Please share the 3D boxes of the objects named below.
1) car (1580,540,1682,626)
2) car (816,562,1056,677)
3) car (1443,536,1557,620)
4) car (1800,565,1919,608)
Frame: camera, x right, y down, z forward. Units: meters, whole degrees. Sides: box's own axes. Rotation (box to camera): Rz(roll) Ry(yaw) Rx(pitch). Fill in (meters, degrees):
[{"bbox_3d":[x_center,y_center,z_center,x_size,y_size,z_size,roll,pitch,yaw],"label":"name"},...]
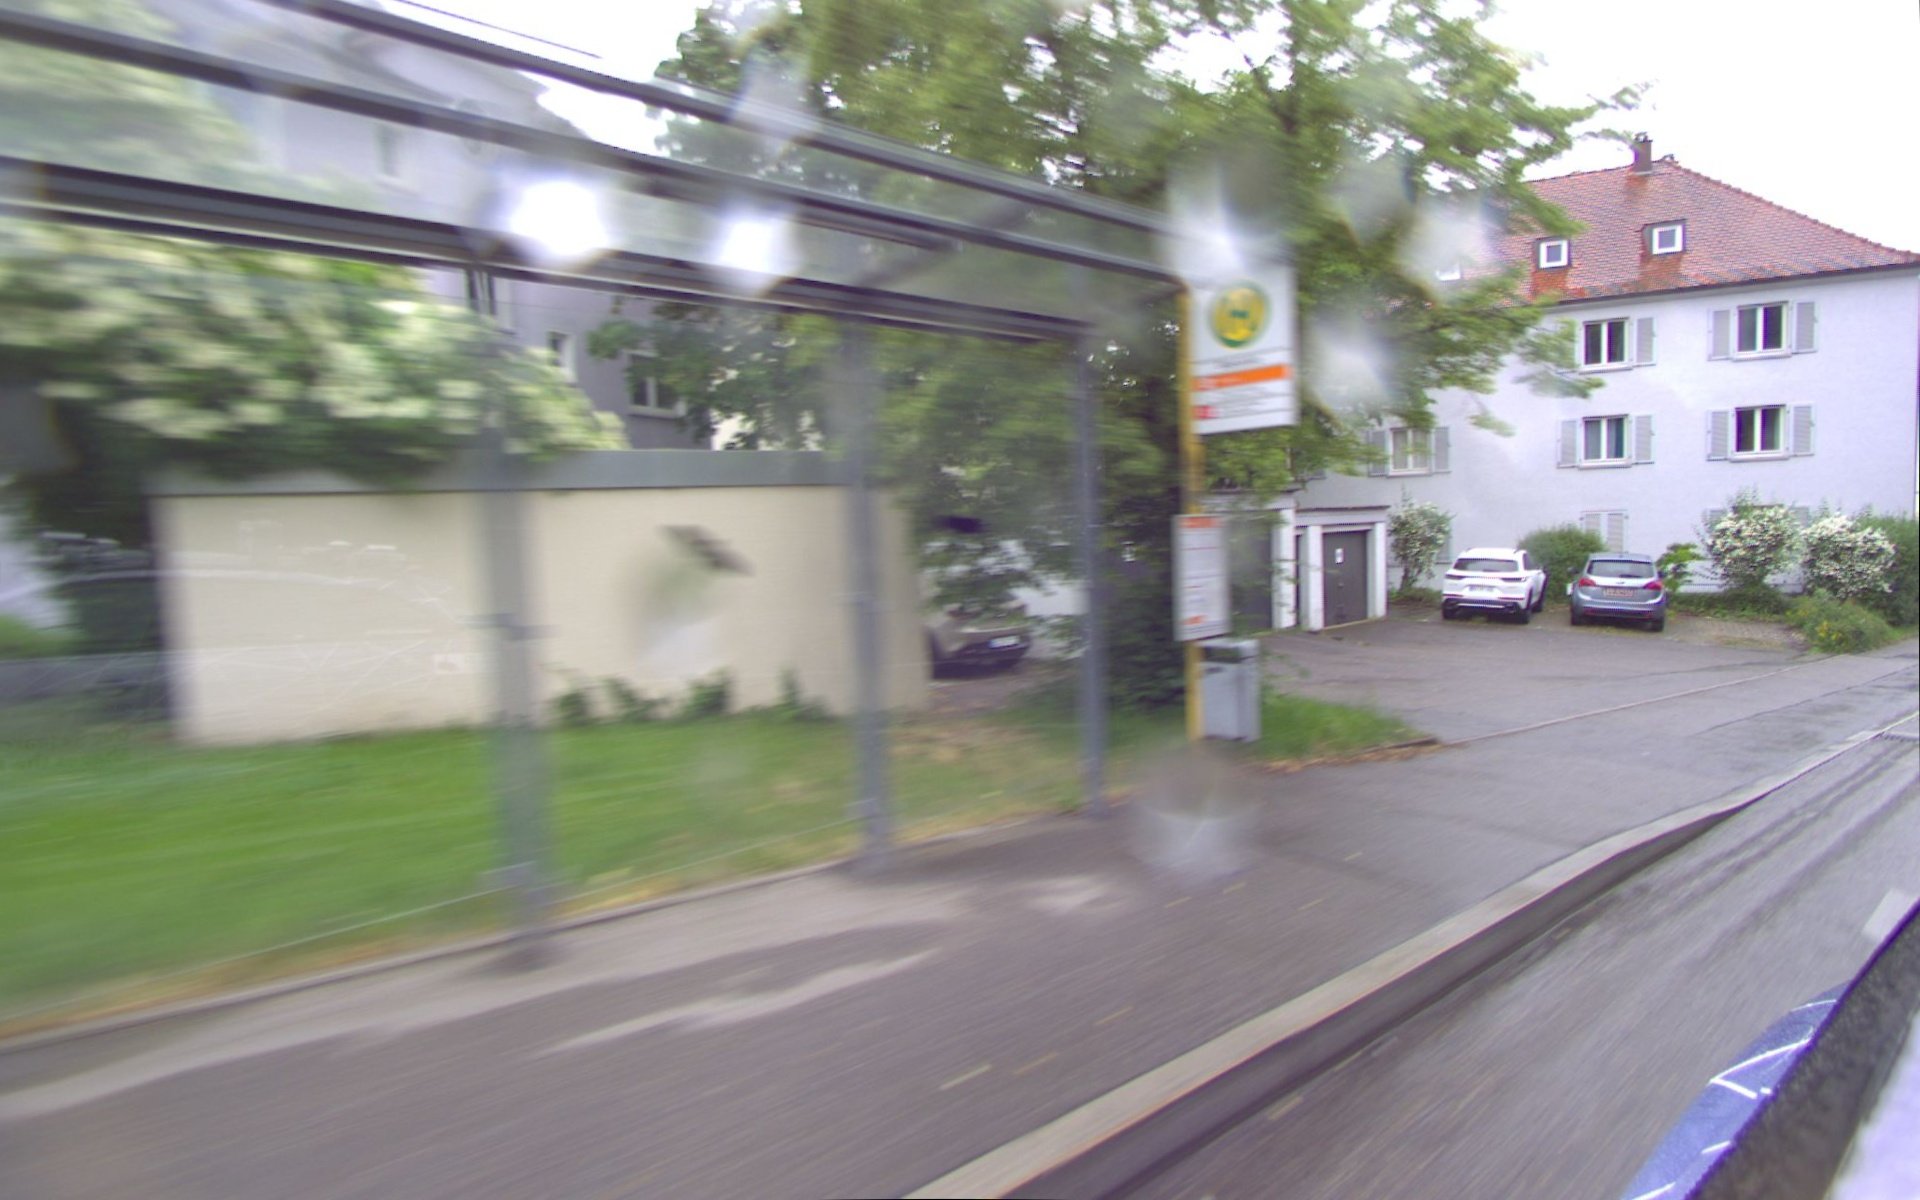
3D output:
[{"bbox_3d":[15.369,-0.475,23.338,1.711,1.580,3.756,4,7,31],"label":"car"},{"bbox_3d":[-0.468,0.194,15.656,1.766,1.448,3.708,-5,5,-40],"label":"car"},{"bbox_3d":[13.017,-0.607,24.260,1.786,1.611,4.205,5,8,35],"label":"car"},{"bbox_3d":[32.490,-0.491,35.686,1.688,1.425,4.102,-1,1,-19],"label":"car"}]
